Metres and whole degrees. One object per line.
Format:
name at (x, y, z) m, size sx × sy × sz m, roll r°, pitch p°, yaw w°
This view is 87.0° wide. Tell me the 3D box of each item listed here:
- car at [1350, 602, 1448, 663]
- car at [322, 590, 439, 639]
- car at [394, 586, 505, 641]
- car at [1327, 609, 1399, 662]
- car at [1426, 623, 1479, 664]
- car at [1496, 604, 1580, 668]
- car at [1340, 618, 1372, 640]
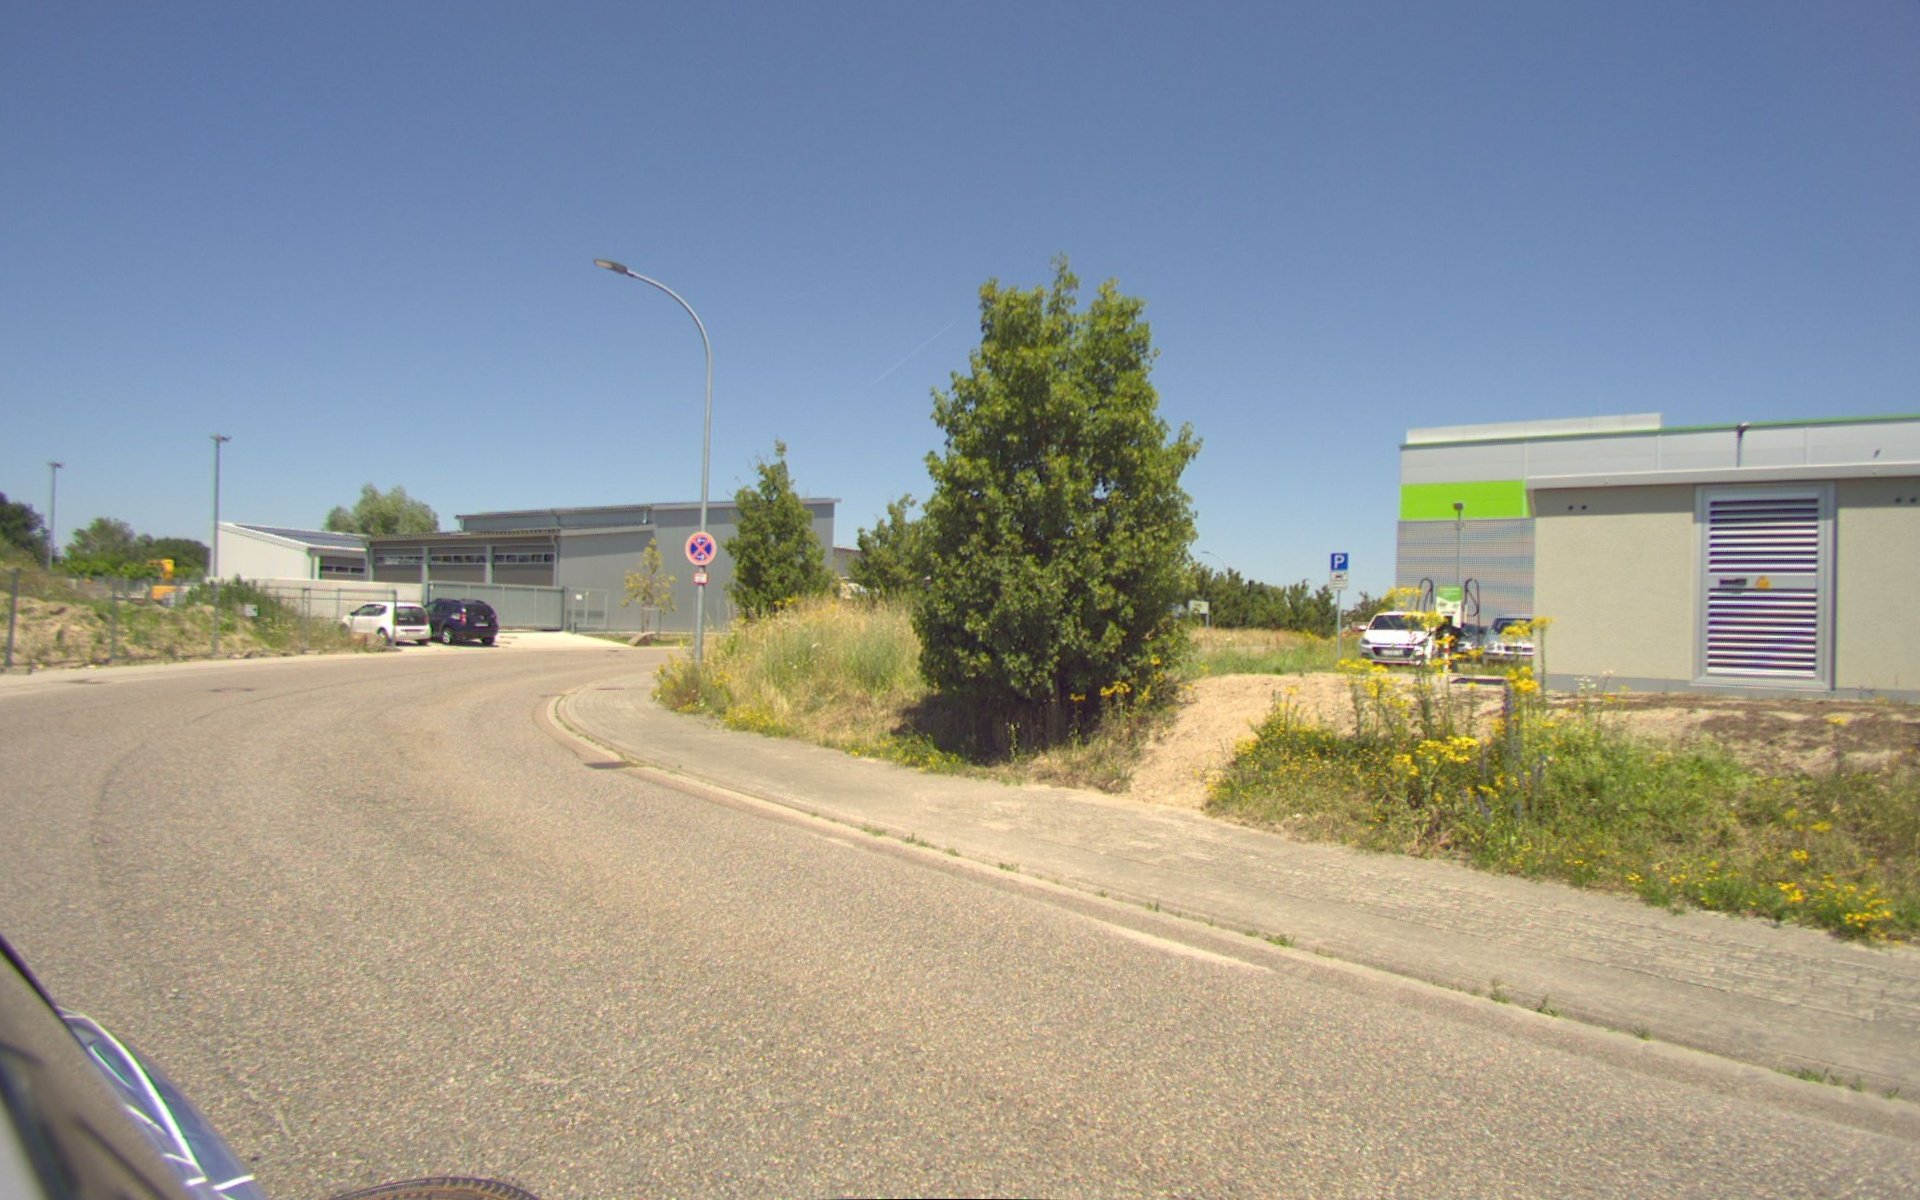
car at (11.360, 0.831, 26.050) m, size 1.991 × 1.423 × 3.961 m, roll 0°, pitch -2°, yaw 29°
car at (-20.789, 0.513, 36.266) m, size 4.008 × 1.473 × 1.873 m, roll 4°, pitch 0°, yaw 31°
car at (-19.313, 0.505, 38.238) m, size 4.010 × 1.667 × 1.838 m, roll 6°, pitch 1°, yaw 31°
car at (14.762, 1.296, 36.958) m, size 1.991 × 1.790 × 3.961 m, roll 0°, pitch -2°, yaw 29°
car at (17.237, 1.513, 35.358) m, size 1.484 × 1.335 × 3.961 m, roll 0°, pitch -2°, yaw 29°
car at (13.858, 0.857, 24.366) m, size 1.635 × 1.410 × 3.761 m, roll 0°, pitch -2°, yaw 29°
car at (25.350, 1.862, 64.759) m, size 1.430 × 1.362 × 3.204 m, roll -1°, pitch -2°, yaw 31°
